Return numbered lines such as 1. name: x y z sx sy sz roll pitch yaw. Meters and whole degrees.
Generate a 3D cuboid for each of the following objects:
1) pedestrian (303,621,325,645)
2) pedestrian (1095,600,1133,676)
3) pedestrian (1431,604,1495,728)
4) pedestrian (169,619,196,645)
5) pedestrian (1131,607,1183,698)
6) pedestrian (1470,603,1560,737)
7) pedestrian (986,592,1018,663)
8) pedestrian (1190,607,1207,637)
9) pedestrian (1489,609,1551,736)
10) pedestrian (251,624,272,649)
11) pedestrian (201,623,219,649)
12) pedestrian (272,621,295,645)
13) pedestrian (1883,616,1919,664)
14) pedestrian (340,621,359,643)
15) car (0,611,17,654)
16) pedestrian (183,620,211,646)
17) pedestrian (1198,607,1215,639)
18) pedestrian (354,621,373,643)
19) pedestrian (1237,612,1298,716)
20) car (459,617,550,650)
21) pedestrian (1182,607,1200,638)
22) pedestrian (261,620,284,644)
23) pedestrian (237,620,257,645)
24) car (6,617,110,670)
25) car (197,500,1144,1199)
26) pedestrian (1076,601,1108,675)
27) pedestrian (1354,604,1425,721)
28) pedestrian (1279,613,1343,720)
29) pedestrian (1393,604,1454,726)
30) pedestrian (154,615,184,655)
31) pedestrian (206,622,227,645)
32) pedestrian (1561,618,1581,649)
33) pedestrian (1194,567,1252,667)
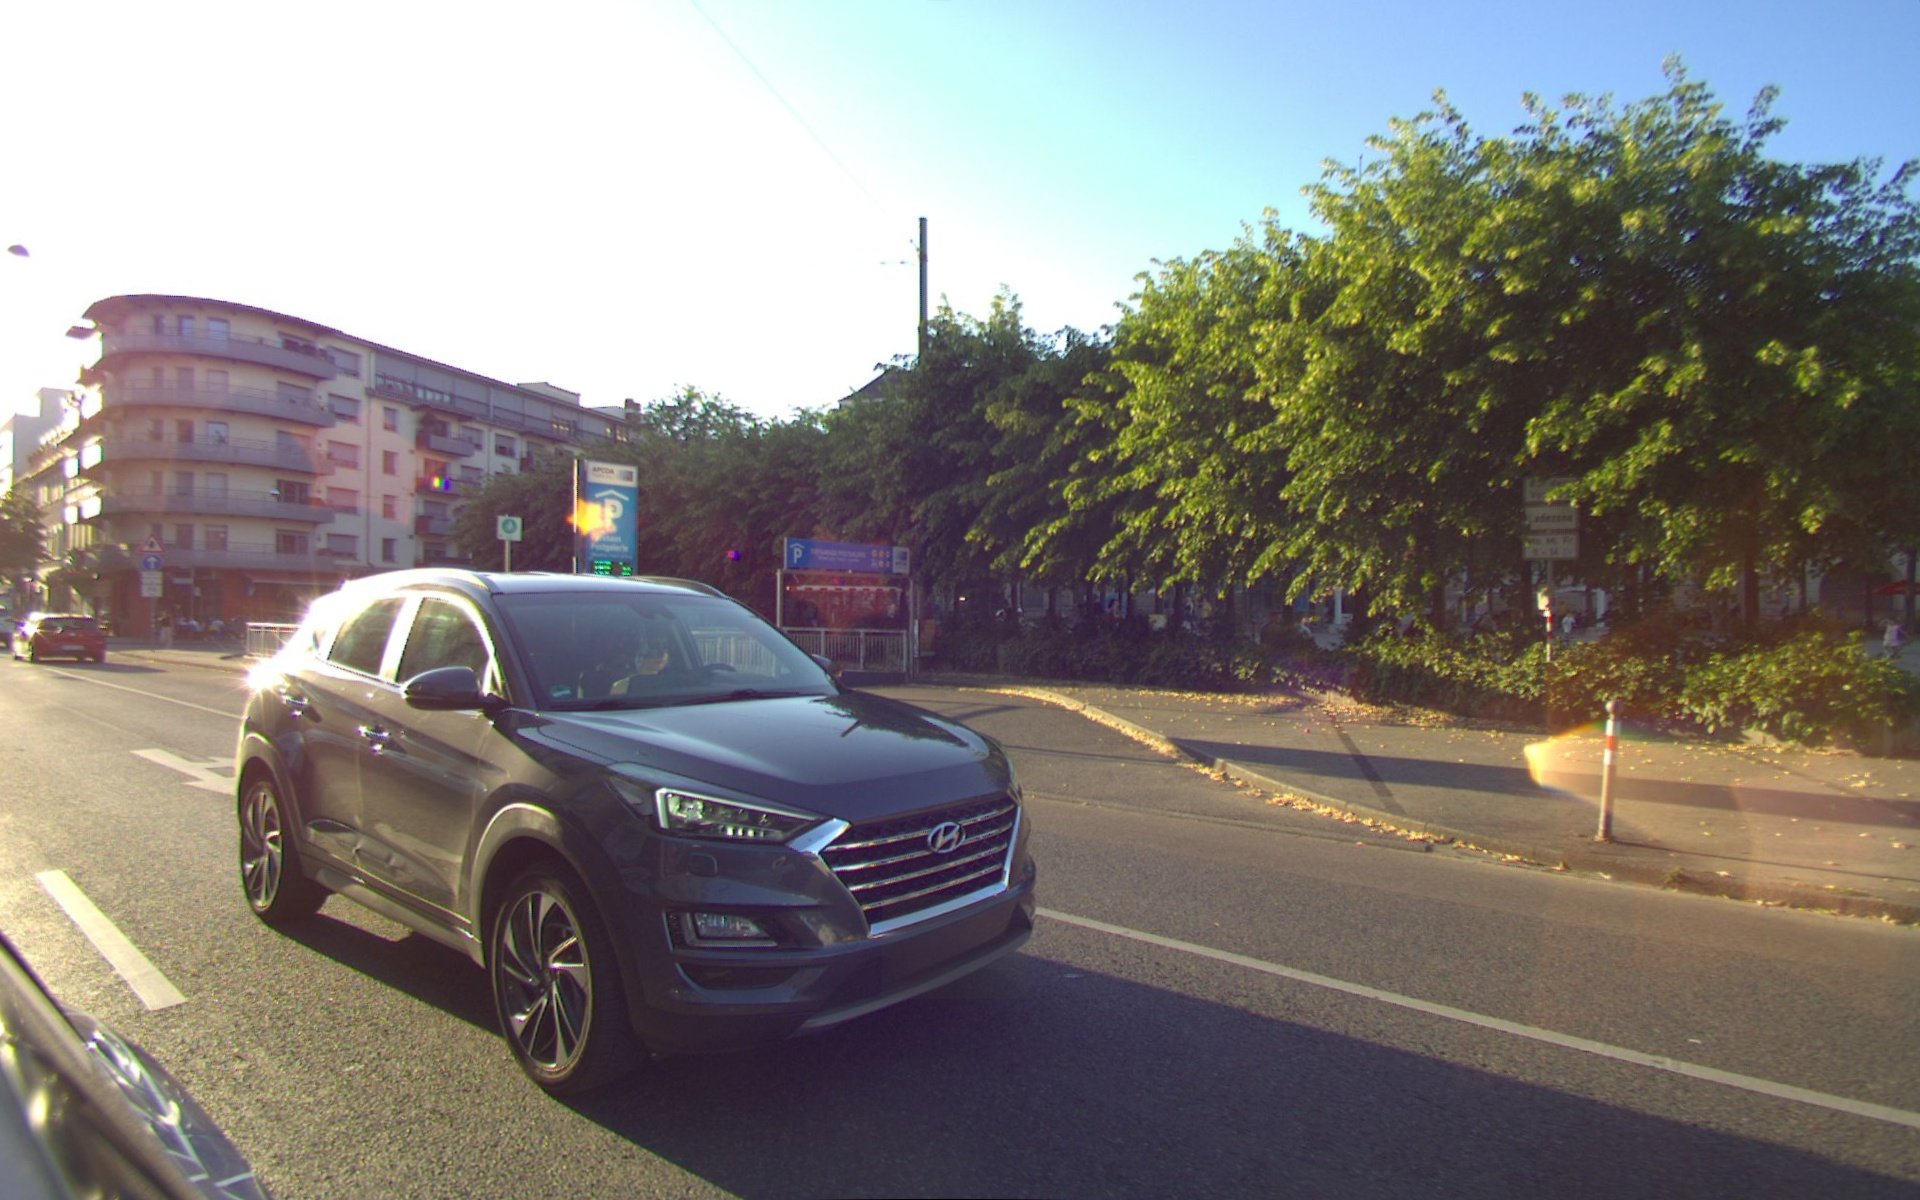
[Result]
1. pedestrian: -37.598 1.921 58.884 0.884 1.332 0.726 -1 -1 26
2. pedestrian: 4.173 1.009 27.328 0.736 2.029 0.897 -1 -1 30
3. pedestrian: 8.522 1.092 17.137 0.739 2.029 0.866 -1 -1 43
4. pedestrian: -40.117 1.655 52.220 0.726 1.332 0.885 -1 -1 14
5. pedestrian: 4.463 1.169 22.972 0.890 2.029 0.742 0 -1 -22
6. pedestrian: 8.746 1.070 15.966 0.890 2.029 0.859 0 -1 -22
7. pedestrian: 1.238 0.797 29.660 0.733 2.029 0.901 -1 -1 18
8. pedestrian: 11.322 1.031 48.031 0.651 1.386 0.515 -1 -1 27
9. pedestrian: 9.280 1.168 16.807 0.852 2.029 0.898 -1 -1 28
10. pedestrian: -38.539 2.008 55.843 0.888 1.332 0.723 -1 -1 39
11. pedestrian: -40.003 1.922 53.977 0.611 1.332 0.669 -1 -1 40
12. pedestrian: -37.906 1.833 56.712 0.884 1.332 0.726 -1 -1 28
13. pedestrian: 21.945 0.926 23.487 0.454 1.071 0.589 -2 -1 -20
14. pedestrian: -37.424 1.970 62.011 0.721 1.332 0.891 0 -1 -10
15. car: -39.225 1.260 40.121 4.170 1.644 1.856 -1 -4 36
16. pedestrian: -39.218 1.704 52.010 0.725 1.332 0.886 0 -1 10
17. pedestrian: 11.009 1.030 45.179 0.651 1.386 0.515 -1 -1 27
18. pedestrian: -36.568 1.976 62.067 0.721 1.332 0.891 0 -1 -10
19. pedestrian: 6.197 1.267 20.394 0.890 2.029 0.742 0 -1 -25
20. car: -23.711 1.709 52.737 3.959 1.664 1.992 0 -1 13
21. pedestrian: 10.401 0.991 45.633 0.651 1.386 0.656 -1 -1 27
22. pedestrian: -39.031 1.797 57.455 0.814 1.332 0.684 -1 -1 17
23. pedestrian: -38.976 1.761 55.323 0.888 1.332 0.723 -1 -1 40
24. car: -27.273 1.275 30.566 3.954 1.477 1.767 0 -2 40
25. car: -1.603 0.673 4.464 4.446 1.702 1.853 -1 -2 40
26. pedestrian: 3.684 1.057 28.271 0.733 2.029 0.901 -1 -1 18
27. pedestrian: 7.684 1.091 18.113 0.890 2.029 0.742 0 -1 -22
28. pedestrian: 6.856 1.267 19.787 0.890 2.029 0.742 0 -1 -22
29. pedestrian: 7.988 1.094 17.431 0.739 2.029 0.754 -1 -1 43
30. pedestrian: -30.903 1.369 39.538 0.668 1.529 0.677 0 -1 -1
31. pedestrian: -39.283 1.749 53.482 0.875 1.201 0.734 0 -1 -39
32. pedestrian: 21.848 1.201 36.195 0.529 1.071 0.457 -3 -1 35
33. pedestrian: 5.470 0.348 21.055 0.890 2.029 0.742 0 -1 -22
